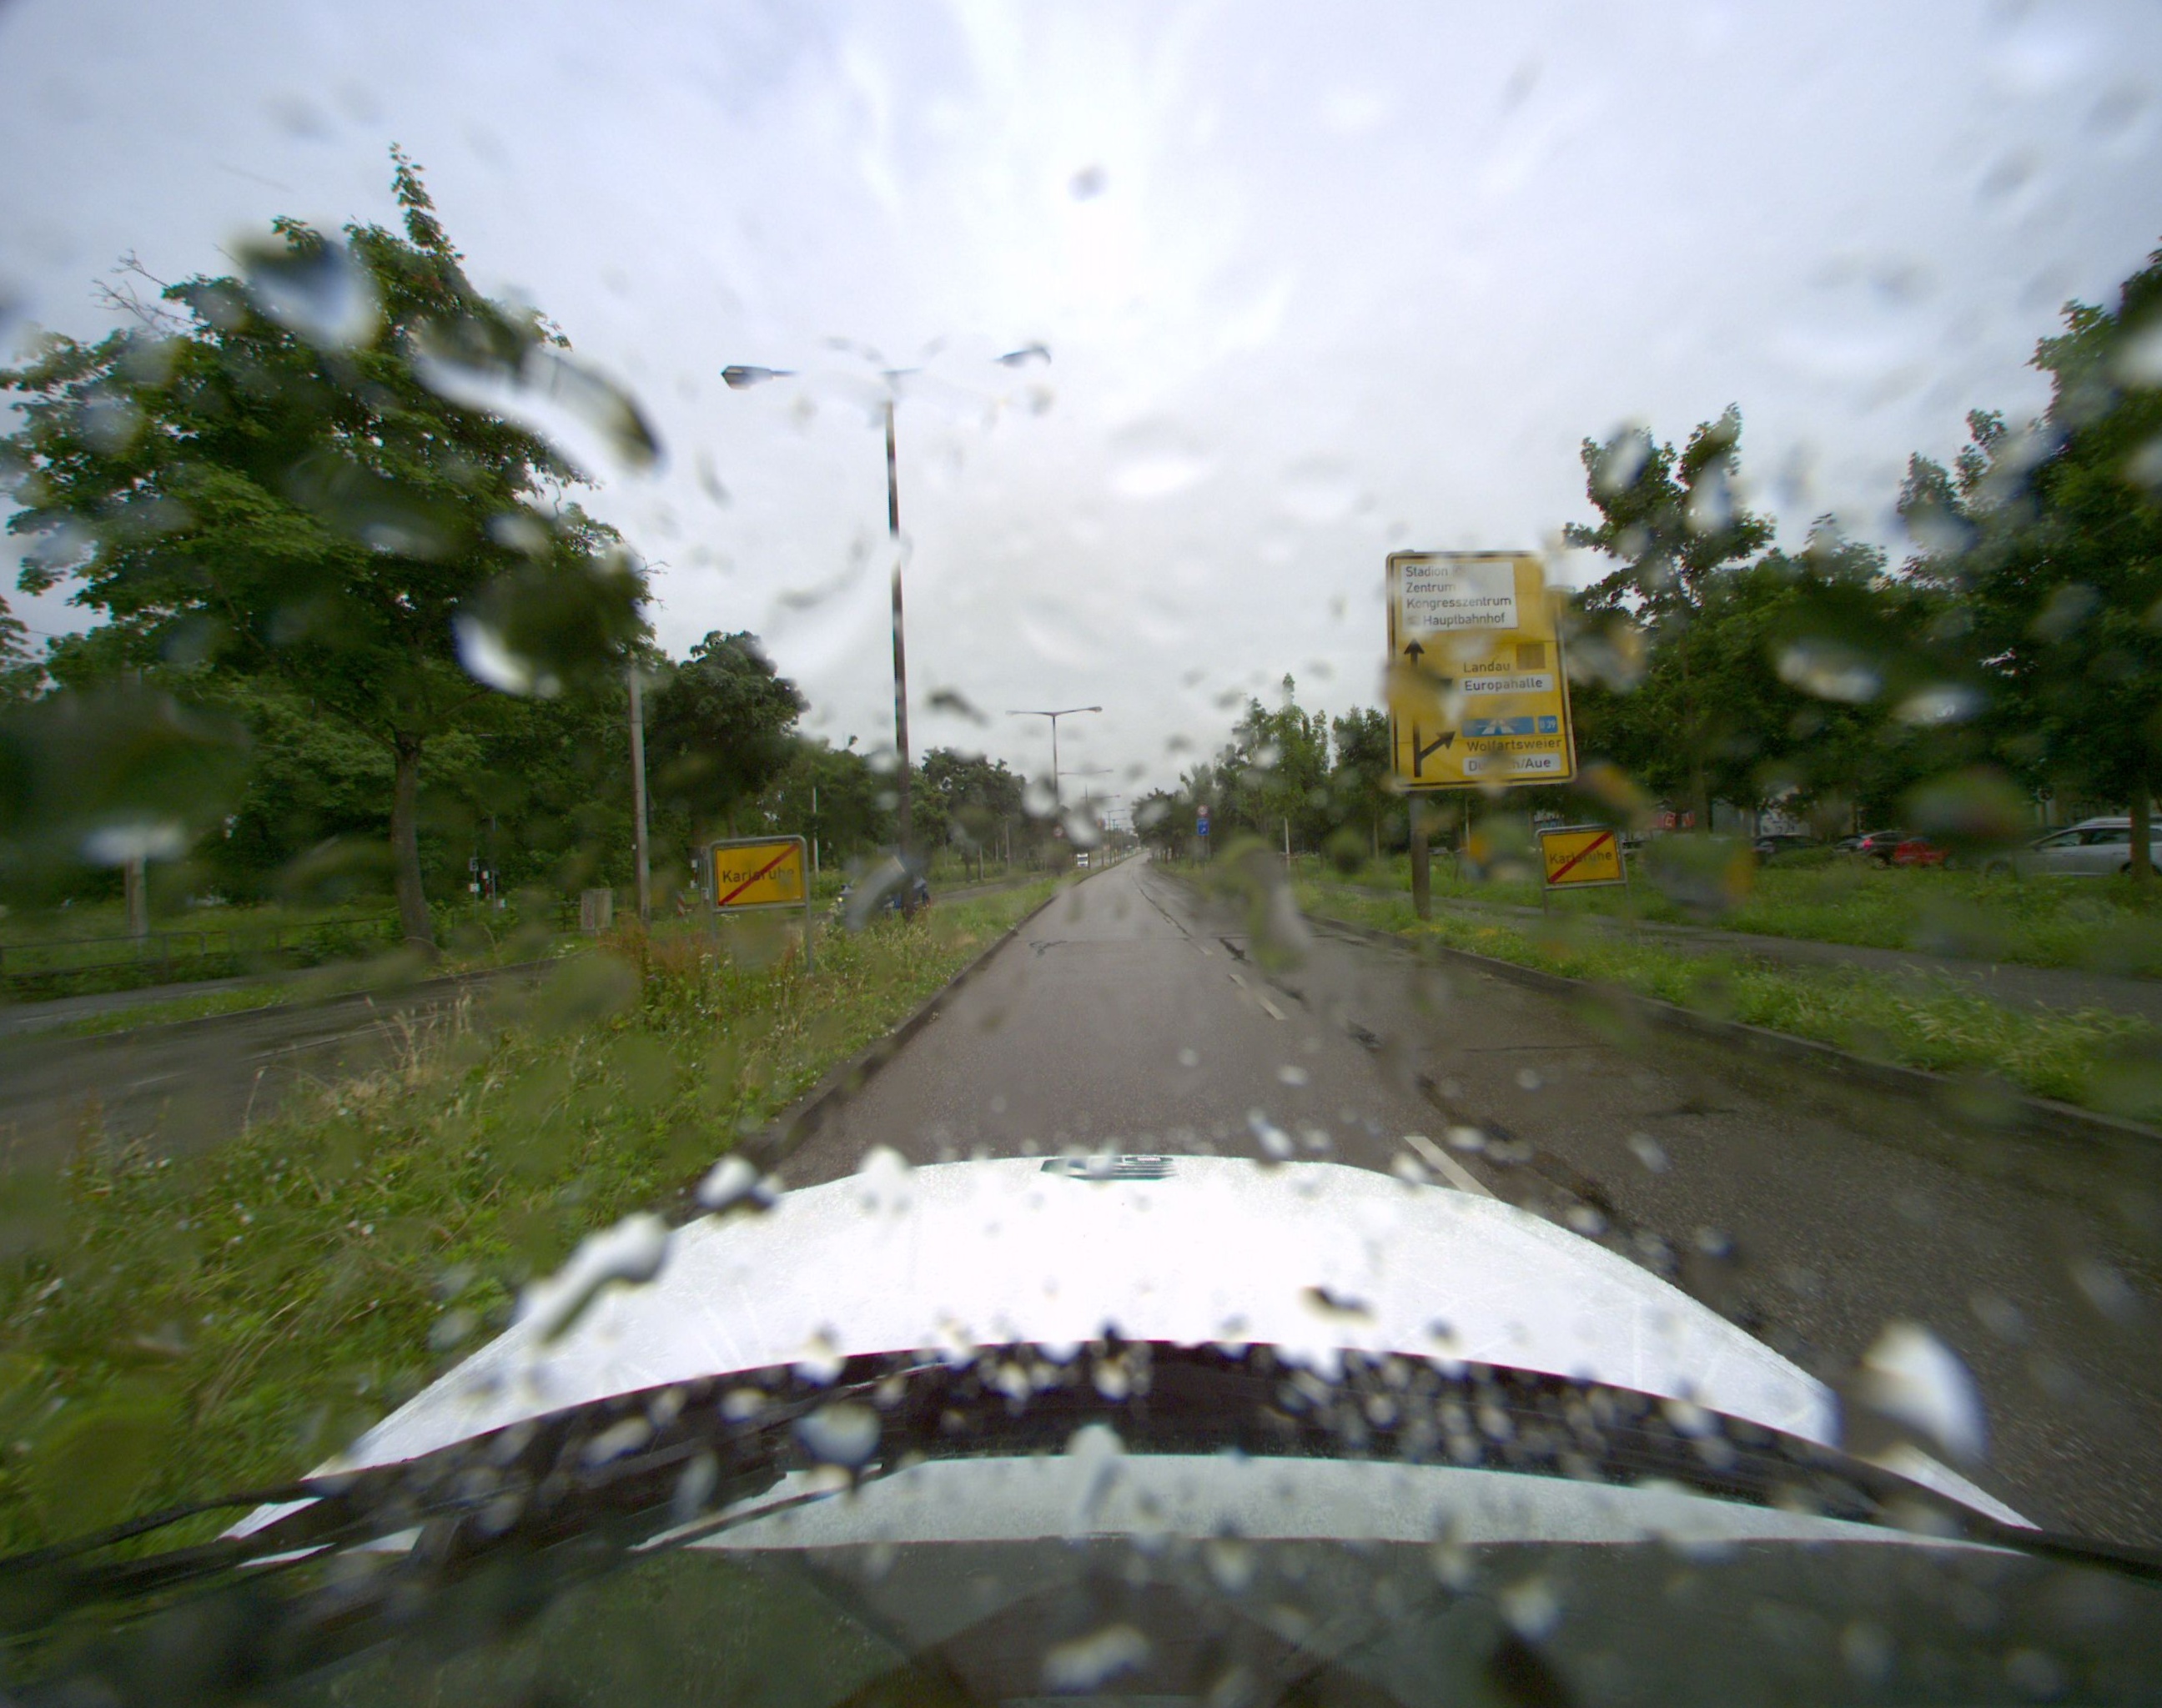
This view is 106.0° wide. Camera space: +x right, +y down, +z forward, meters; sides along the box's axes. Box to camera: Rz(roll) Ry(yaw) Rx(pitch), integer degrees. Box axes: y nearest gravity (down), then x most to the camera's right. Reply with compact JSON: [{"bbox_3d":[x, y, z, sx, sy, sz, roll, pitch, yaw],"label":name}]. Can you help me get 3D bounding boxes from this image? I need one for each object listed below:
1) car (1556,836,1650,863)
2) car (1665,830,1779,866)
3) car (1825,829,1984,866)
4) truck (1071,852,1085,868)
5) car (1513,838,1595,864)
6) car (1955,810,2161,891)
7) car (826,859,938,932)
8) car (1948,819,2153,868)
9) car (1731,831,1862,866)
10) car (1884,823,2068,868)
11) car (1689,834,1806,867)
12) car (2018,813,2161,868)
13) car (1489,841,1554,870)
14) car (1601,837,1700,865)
[{"bbox_3d":[32.516,-0.260,50.791,4.546,1.558,1.949,-1,-1,6],"label":"car"},{"bbox_3d":[32.854,-0.288,41.824,4.320,1.725,1.945,0,-1,0],"label":"car"},{"bbox_3d":[31.189,-0.236,30.936,4.166,1.340,1.867,0,-1,0],"label":"car"},{"bbox_3d":[-0.523,1.133,153.734,2.130,2.843,5.075,-4,-1,2],"label":"truck"},{"bbox_3d":[32.830,-0.176,56.589,4.555,1.705,1.999,0,-1,-1],"label":"car"},{"bbox_3d":[22.685,-0.091,17.941,1.985,1.625,4.646,-3,-1,4],"label":"car"},{"bbox_3d":[-5.265,1.033,22.141,1.737,1.650,4.139,-5,0,3],"label":"car"},{"bbox_3d":[31.091,-0.306,26.214,4.320,1.484,1.945,0,-1,0],"label":"car"},{"bbox_3d":[31.324,-0.213,35.757,4.114,1.460,1.791,0,-1,2],"label":"car"},{"bbox_3d":[31.222,-0.273,28.511,4.320,1.484,1.945,0,-1,0],"label":"car"},{"bbox_3d":[31.668,-0.143,38.770,4.175,1.484,1.760,0,-1,0],"label":"car"},{"bbox_3d":[30.426,-0.378,23.615,4.320,1.503,1.923,0,-1,0],"label":"car"},{"bbox_3d":[24.708,0.045,45.875,1.736,1.445,4.129,-3,1,6],"label":"car"},{"bbox_3d":[32.417,-0.166,46.438,4.320,1.558,1.945,0,-1,0],"label":"car"}]
